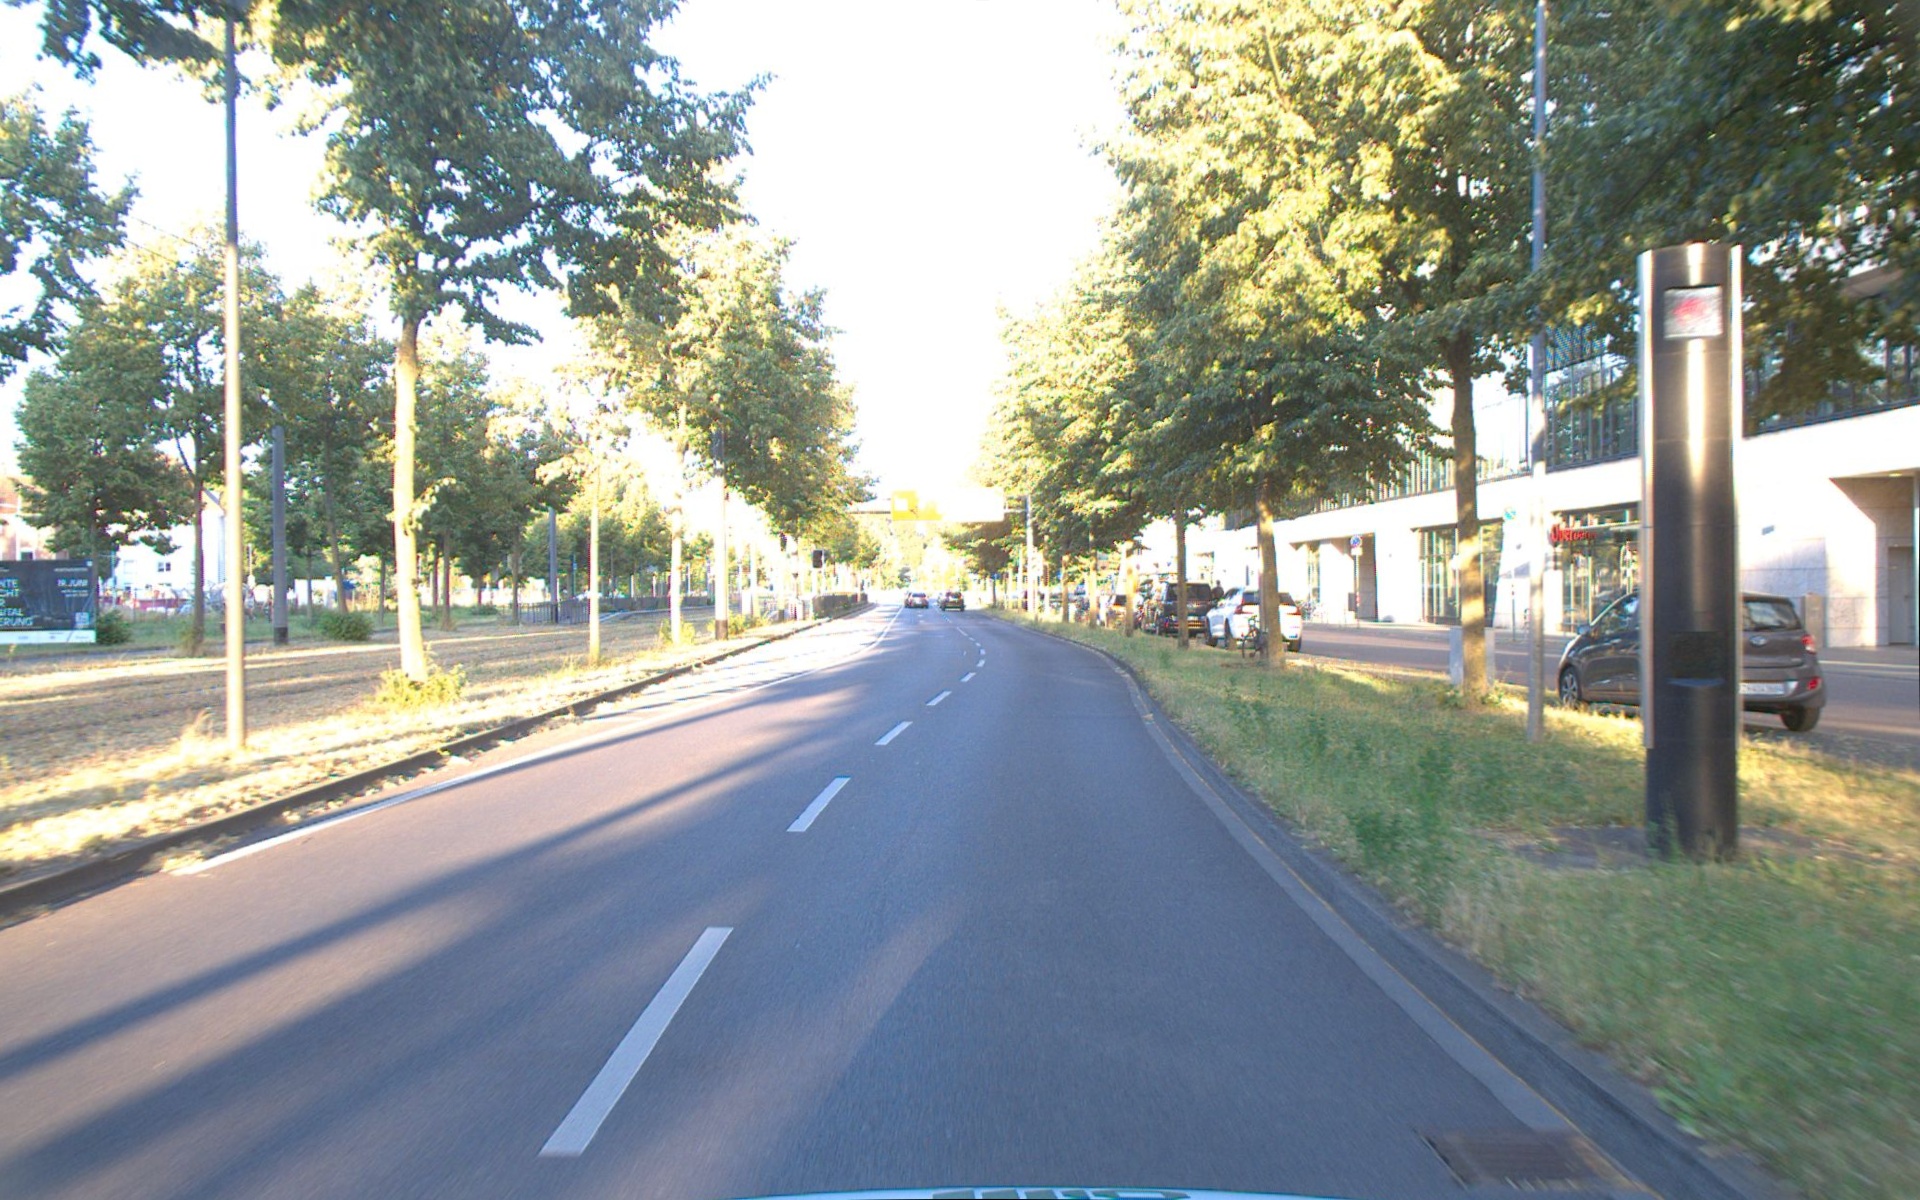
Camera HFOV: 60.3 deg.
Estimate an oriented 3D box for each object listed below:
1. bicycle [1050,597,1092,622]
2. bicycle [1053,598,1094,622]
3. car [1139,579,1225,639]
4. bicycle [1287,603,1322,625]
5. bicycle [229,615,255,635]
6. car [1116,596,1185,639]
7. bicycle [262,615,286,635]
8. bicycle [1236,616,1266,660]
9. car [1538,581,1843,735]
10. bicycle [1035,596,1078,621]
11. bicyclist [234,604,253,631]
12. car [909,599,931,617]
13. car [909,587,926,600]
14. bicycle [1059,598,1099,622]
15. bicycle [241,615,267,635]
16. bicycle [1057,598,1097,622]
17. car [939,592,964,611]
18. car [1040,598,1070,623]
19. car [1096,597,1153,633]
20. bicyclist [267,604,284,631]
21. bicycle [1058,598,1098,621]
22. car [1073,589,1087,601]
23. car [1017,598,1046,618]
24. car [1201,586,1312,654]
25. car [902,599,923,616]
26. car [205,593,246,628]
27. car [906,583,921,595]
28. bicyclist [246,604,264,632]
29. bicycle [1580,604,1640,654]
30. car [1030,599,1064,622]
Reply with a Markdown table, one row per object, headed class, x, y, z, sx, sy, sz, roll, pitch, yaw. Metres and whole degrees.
| class | x | y | z | sx | sy | sz | roll | pitch | yaw |
| --- | --- | --- | --- | --- | --- | --- | --- | --- | --- |
| bicycle | 5.377 | 0.455 | 80.117 | 1.908 | 1.072 | 0.543 | 3 | 0 | -13 |
| bicycle | 5.546 | 0.474 | 80.818 | 1.906 | 1.072 | 0.544 | 3 | 0 | -9 |
| car | 7.341 | 0.295 | 55.178 | 1.954 | 1.884 | 4.662 | -1 | 0 | -4 |
| bicycle | 15.980 | 0.630 | 76.692 | 1.543 | 1.004 | 0.404 | -1 | 0 | -1 |
| bicycle | -38.234 | 1.349 | 88.111 | 0.607 | 1.029 | 2.081 | -1 | 0 | -4 |
| car | 7.075 | 0.624 | 61.804 | 1.773 | 1.497 | 4.662 | -1 | 0 | -4 |
| bicycle | -37.622 | 1.377 | 90.729 | 0.607 | 1.029 | 2.081 | -1 | 0 | -4 |
| bicycle | 5.785 | 0.748 | 32.900 | 0.308 | 0.838 | 1.552 | -1 | 0 | -1 |
| car | 8.214 | 0.594 | 18.974 | 1.675 | 1.542 | 3.757 | 2 | 0 | -3 |
| bicycle | 4.603 | 0.409 | 78.680 | 1.911 | 1.072 | 0.543 | 3 | 0 | -17 |
| bicyclist | -38.230 | 0.920 | 88.234 | 0.607 | 1.446 | 0.937 | -1 | 0 | -4 |
| car | -3.503 | 0.704 | 145.780 | 1.873 | 1.512 | 3.998 | 0 | 0 | -2 |
| car | -4.823 | -0.728 | 187.990 | 1.873 | 1.512 | 3.998 | 0 | 0 | -2 |
| bicycle | 5.974 | 0.490 | 82.768 | 1.906 | 1.072 | 0.413 | 3 | 0 | -9 |
| bicycle | -38.540 | 1.348 | 90.303 | 0.607 | 1.029 | 2.081 | -1 | 0 | -4 |
| bicycle | 5.765 | 0.483 | 81.392 | 1.906 | 1.072 | 0.408 | 3 | 0 | -9 |
| car | -0.700 | 0.113 | 131.884 | 1.873 | 1.512 | 3.998 | 0 | 0 | -2 |
| car | 5.804 | 0.645 | 101.720 | 1.543 | 1.498 | 3.880 | 0 | 0 | -1 |
| car | 6.771 | 0.604 | 68.653 | 1.831 | 1.436 | 4.645 | -1 | 0 | -1 |
| bicyclist | -37.631 | 0.958 | 90.918 | 0.607 | 1.482 | 0.937 | -1 | 0 | -4 |
| bicycle | 5.948 | 0.485 | 83.318 | 1.906 | 1.072 | 0.413 | 3 | 0 | -9 |
| car | 17.248 | -0.721 | 237.811 | 1.952 | 1.758 | 4.001 | -1 | 0 | 2 |
| car | 5.322 | 0.594 | 123.825 | 1.722 | 1.491 | 4.155 | 0 | 0 | -4 |
| car | 7.729 | 0.486 | 43.567 | 1.953 | 1.671 | 4.877 | -1 | 0 | -1 |
| car | -4.360 | 0.709 | 152.219 | 1.873 | 1.512 | 3.998 | 0 | 0 | -2 |
| car | -48.434 | 0.695 | 108.996 | 2.385 | 2.263 | 5.870 | 0 | 0 | -25 |
| car | -5.725 | -1.351 | 203.439 | 1.873 | 1.512 | 3.998 | 0 | 0 | -2 |
| bicyclist | -38.543 | 0.988 | 90.373 | 0.607 | 1.482 | 0.937 | -1 | 0 | -4 |
| bicycle | 14.493 | 0.633 | 36.921 | 0.582 | 1.057 | 1.892 | -1 | 0 | -1 |
| car | 5.705 | 0.673 | 108.430 | 1.742 | 1.498 | 4.285 | 0 | 0 | -3 |
